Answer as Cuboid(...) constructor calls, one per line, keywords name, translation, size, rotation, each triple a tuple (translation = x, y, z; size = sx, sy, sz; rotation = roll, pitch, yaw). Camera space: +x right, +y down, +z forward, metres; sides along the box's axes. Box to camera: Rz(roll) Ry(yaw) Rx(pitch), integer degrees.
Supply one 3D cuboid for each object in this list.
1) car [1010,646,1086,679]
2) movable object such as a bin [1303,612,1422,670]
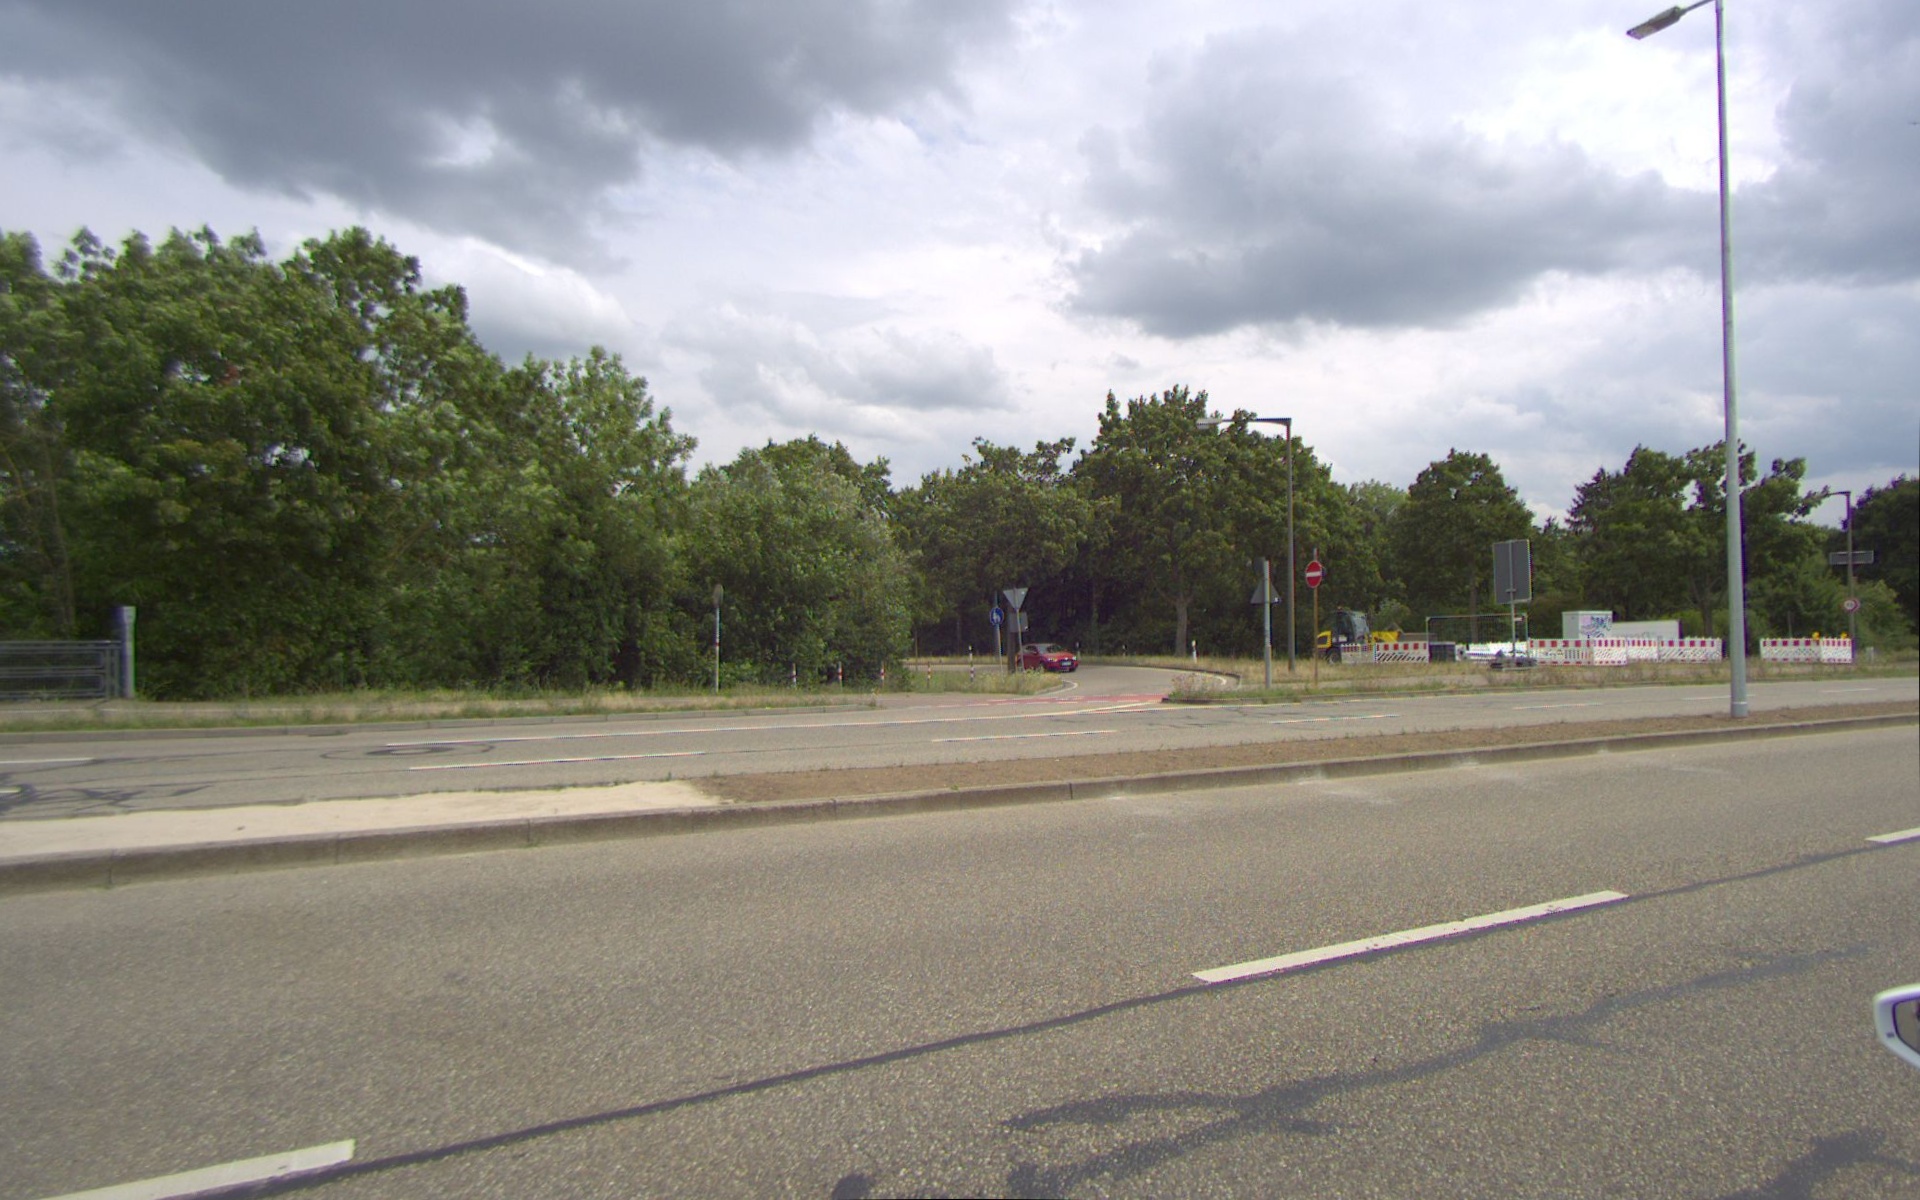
Cuboid(name="car", translation=(4.278, 3.074, 49.670), size=(1.759, 1.392, 4.266), rotation=(0, -1, -27))
Cuboid(name="movable object such as a bin", translation=(17.853, 1.760, 44.688), size=(1.982, 2.429, 4.543), rotation=(0, -1, -38))
